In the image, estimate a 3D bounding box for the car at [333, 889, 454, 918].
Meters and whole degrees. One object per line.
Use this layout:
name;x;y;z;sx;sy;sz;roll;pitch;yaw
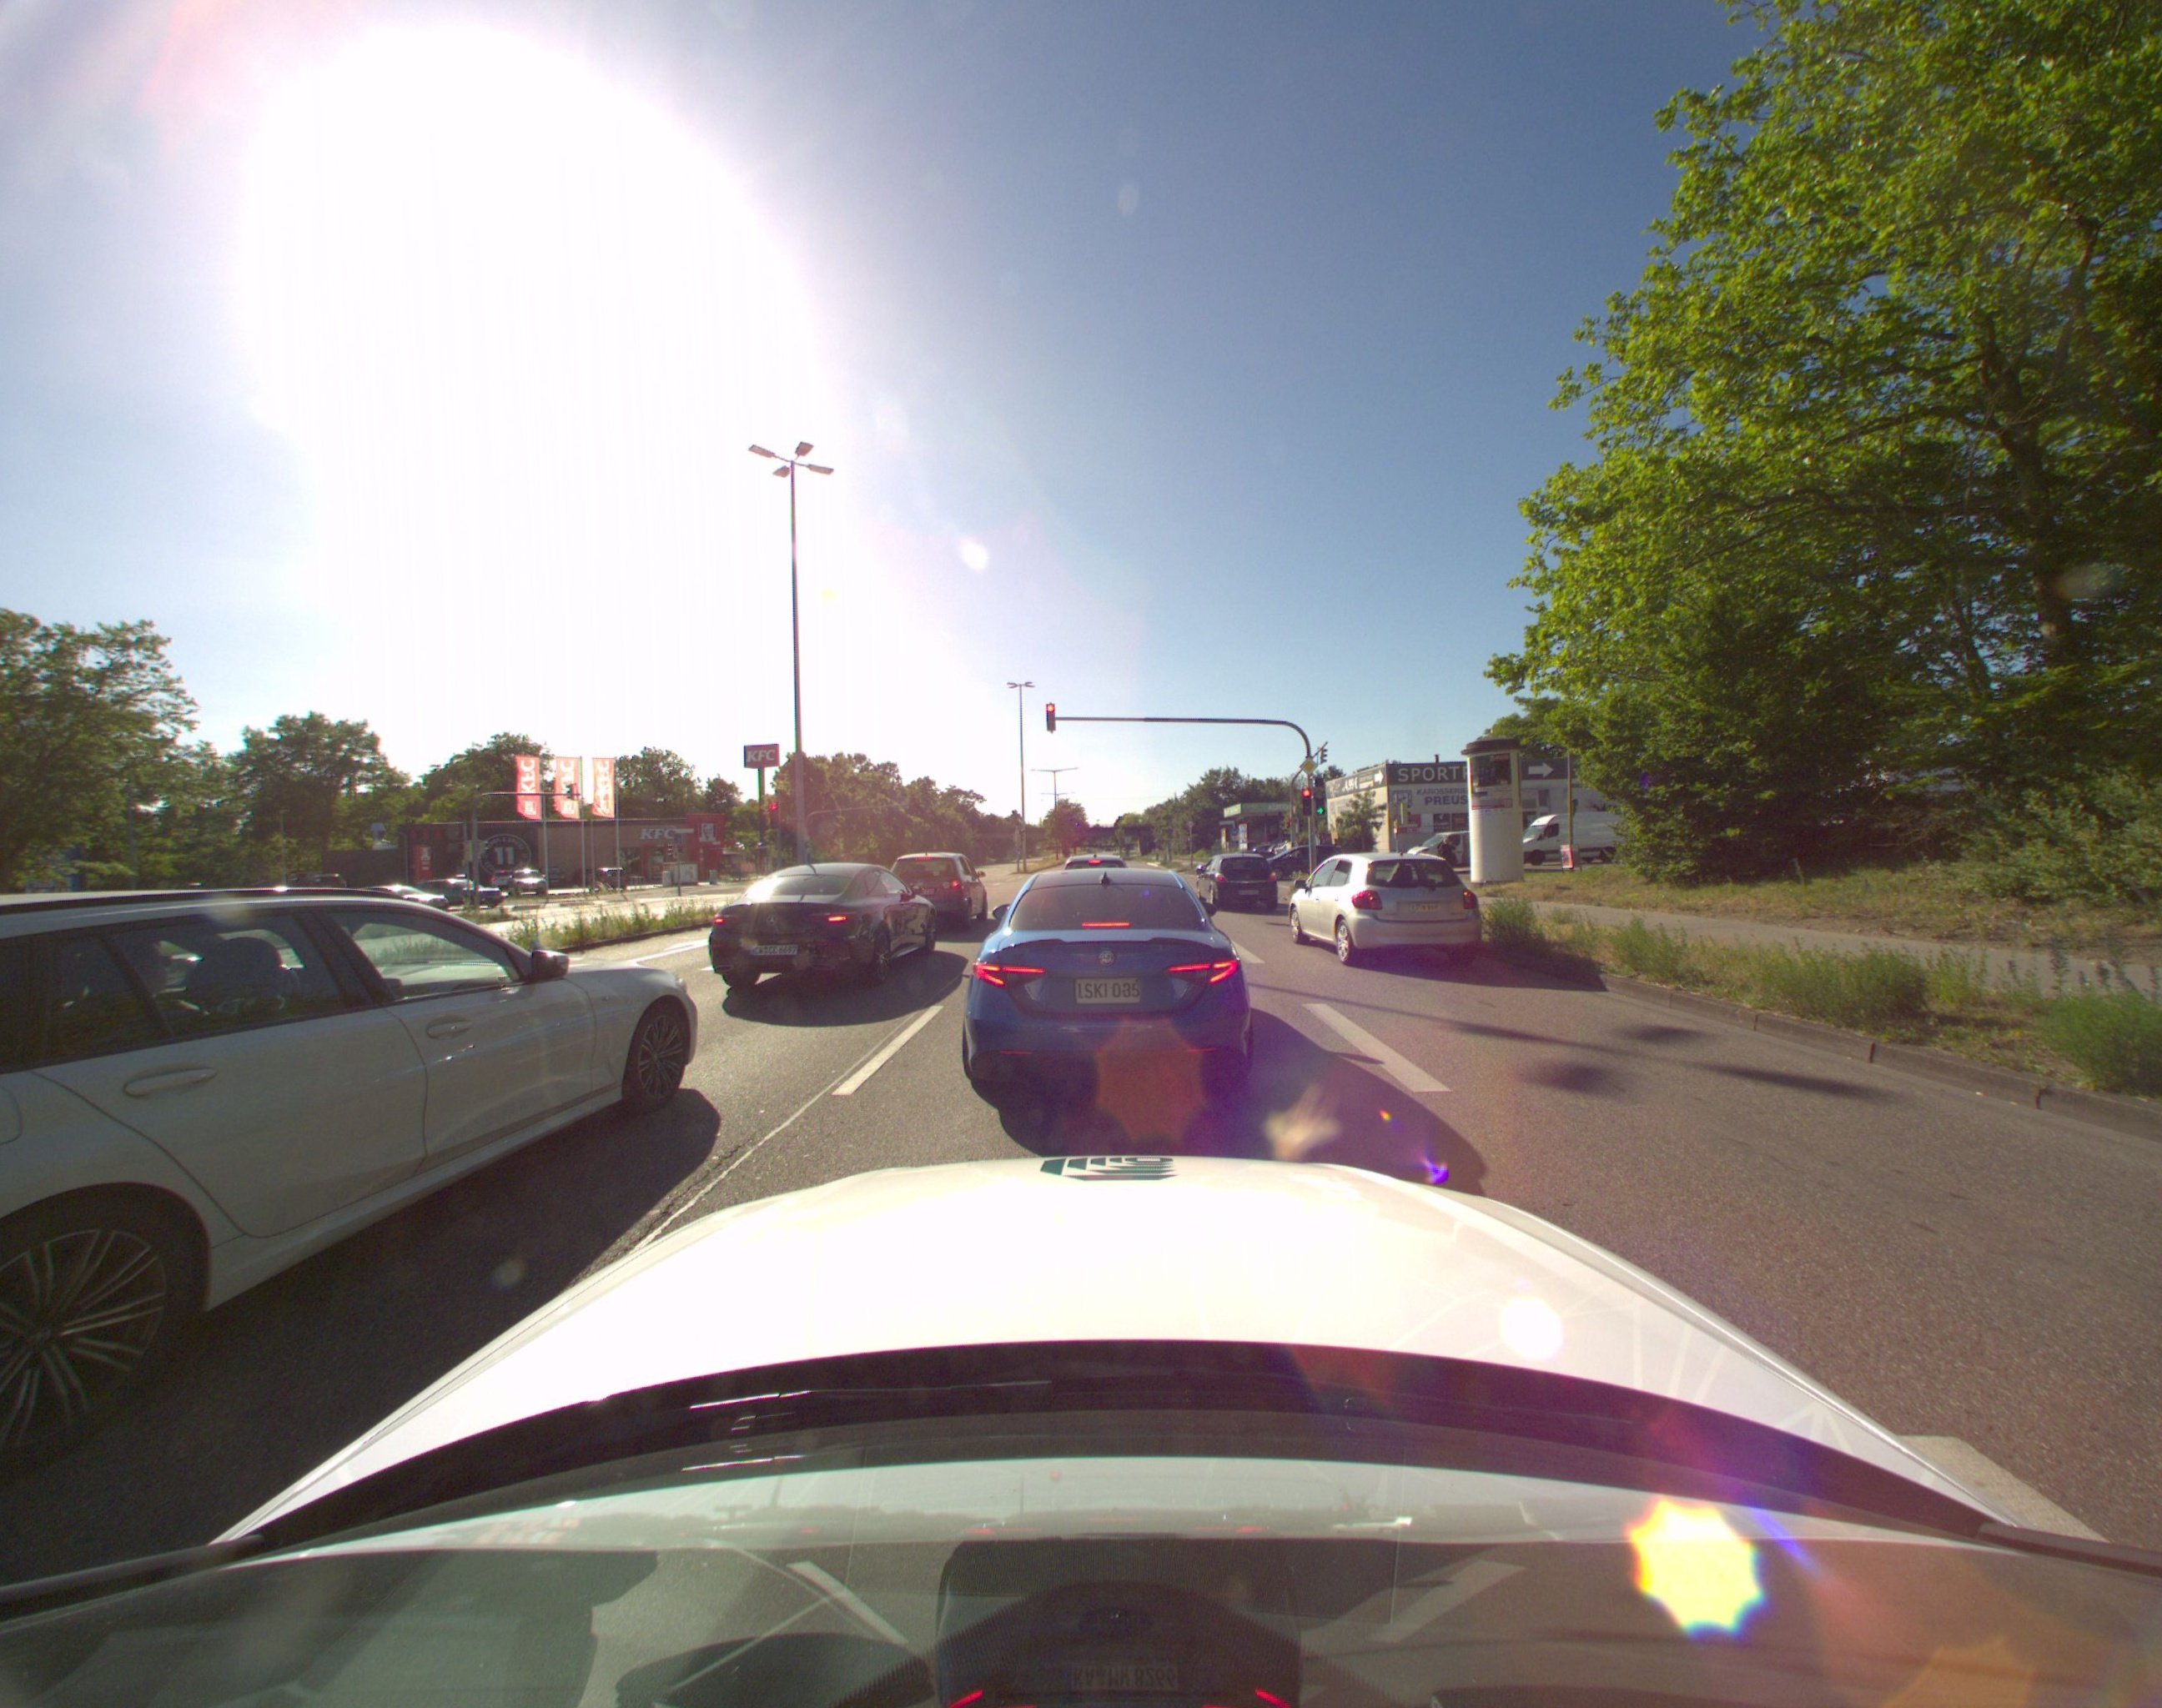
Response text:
car;-32.181;2.312;38.204;4.070;1.252;1.871;0;-1;0

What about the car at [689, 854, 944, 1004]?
car;-3.174;0.797;10.870;1.806;1.551;4.544;-1;0;1

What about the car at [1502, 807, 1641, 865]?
car;25.278;-0.913;42.112;5.812;2.672;2.001;-3;-1;2

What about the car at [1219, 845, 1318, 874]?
car;9.777;0.293;42.637;4.803;1.468;1.758;0;-1;0

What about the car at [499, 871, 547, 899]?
car;-37.379;2.019;54.551;1.946;1.740;4.046;0;-1;-45

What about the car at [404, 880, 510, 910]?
car;-31.918;2.091;41.748;3.940;1.453;1.936;0;-1;1

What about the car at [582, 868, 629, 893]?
car;-33.912;1.864;58.022;1.946;1.740;4.046;0;-1;-45

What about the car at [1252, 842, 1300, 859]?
car;17.819;-0.312;74.451;3.971;1.552;2.001;0;-1;2

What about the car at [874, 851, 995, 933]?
car;-3.006;0.736;17.618;1.806;1.551;4.353;0;-1;0

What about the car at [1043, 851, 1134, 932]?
car;0.258;0.719;17.055;1.696;1.497;3.722;0;-1;3

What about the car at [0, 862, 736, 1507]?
car;-3.421;0.822;3.416;1.805;1.486;4.599;-1;0;2

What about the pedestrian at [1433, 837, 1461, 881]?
pedestrian;14.191;0.185;31.577;0.814;1.669;0.514;0;-1;1

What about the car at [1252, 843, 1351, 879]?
car;10.467;0.316;38.899;4.291;1.650;1.638;0;-1;1

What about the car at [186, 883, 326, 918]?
car;-39.094;2.186;38.687;4.608;1.579;1.936;0;-1;0

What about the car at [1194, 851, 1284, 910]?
car;4.192;0.664;22.227;1.727;1.442;4.373;0;0;2

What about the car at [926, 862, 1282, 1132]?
car;0.227;0.784;6.229;1.901;1.423;3.722;0;-1;3

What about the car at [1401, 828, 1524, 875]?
car;18.235;-0.123;39.075;4.937;2.035;1.881;-2;-1;0

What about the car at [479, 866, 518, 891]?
car;-45.477;1.893;63.583;2.011;1.813;3.727;0;-1;-43

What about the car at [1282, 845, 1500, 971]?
car;4.332;0.658;12.116;1.777;1.537;4.109;0;0;2
